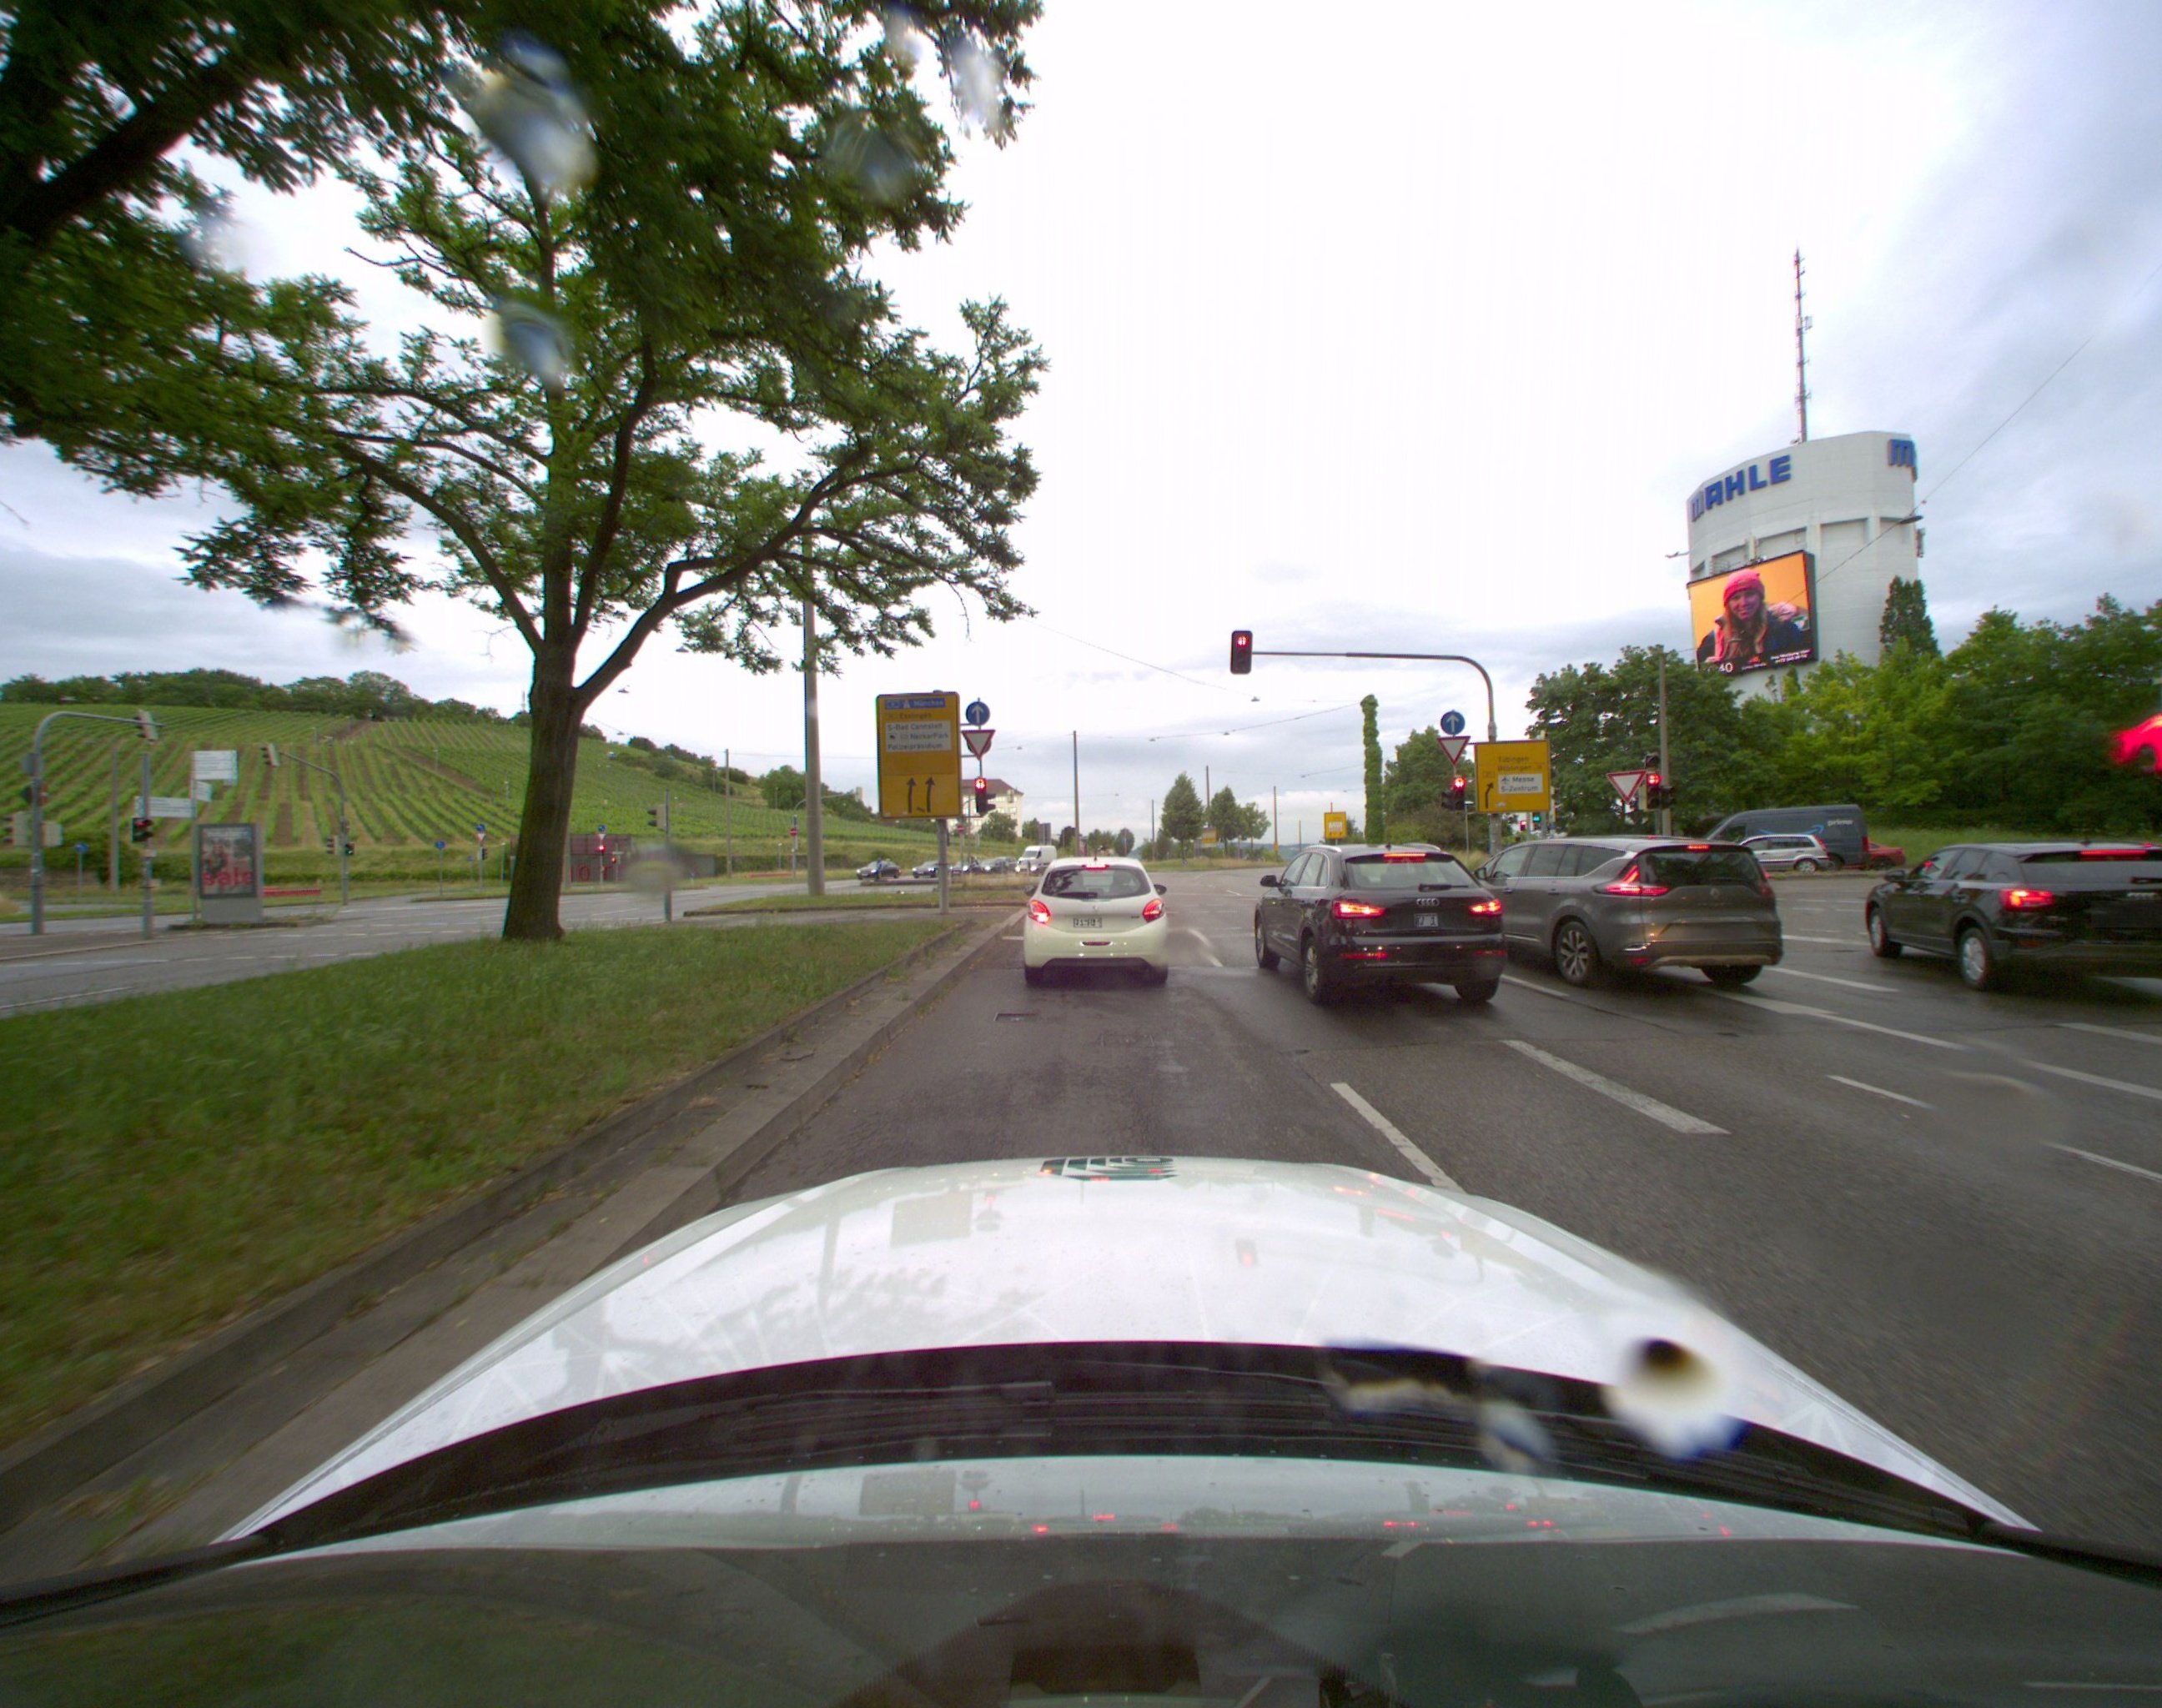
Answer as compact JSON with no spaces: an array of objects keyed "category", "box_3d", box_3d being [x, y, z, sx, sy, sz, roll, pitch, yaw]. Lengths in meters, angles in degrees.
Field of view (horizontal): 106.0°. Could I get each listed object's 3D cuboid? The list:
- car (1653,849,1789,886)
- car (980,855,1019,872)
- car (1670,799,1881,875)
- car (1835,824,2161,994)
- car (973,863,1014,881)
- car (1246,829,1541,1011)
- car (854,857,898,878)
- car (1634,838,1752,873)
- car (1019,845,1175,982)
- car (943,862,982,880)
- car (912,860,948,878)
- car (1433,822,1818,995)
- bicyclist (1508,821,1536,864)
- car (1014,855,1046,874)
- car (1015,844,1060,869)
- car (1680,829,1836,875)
[{"category":"car","box_3d":[27.419,0.578,35.078,4.327,1.520,1.739,-1,-1,25]},{"category":"car","box_3d":[-8.008,0.933,80.162,1.976,1.575,4.218,0,-1,23]},{"category":"car","box_3d":[26.967,-0.570,31.983,5.953,2.741,2.094,-1,-2,28]},{"category":"car","box_3d":[10.422,0.500,9.084,1.847,1.498,4.176,-4,-2,28]},{"category":"car","box_3d":[-7.583,1.561,70.938,1.887,1.489,4.911,0,0,15]},{"category":"car","box_3d":[3.178,0.598,9.258,1.877,1.595,4.114,0,0,1]},{"category":"car","box_3d":[-16.371,1.087,65.406,1.819,1.623,4.576,0,0,8]},{"category":"car","box_3d":[28.666,0.098,38.317,4.094,1.564,1.881,-1,-1,22]},{"category":"car","box_3d":[0.222,0.671,10.982,1.711,1.489,4.001,-1,0,1]},{"category":"car","box_3d":[-9.433,1.361,65.087,1.774,1.395,3.894,0,-1,12]},{"category":"car","box_3d":[-12.416,1.232,67.247,1.776,1.395,3.889,0,-1,7]},{"category":"car","box_3d":[6.318,0.509,10.254,1.859,1.674,4.566,-1,1,1]},{"category":"bicyclist","box_3d":[16.196,-0.411,29.941,0.801,1.584,1.028,0,-1,23]},{"category":"car","box_3d":[-4.102,0.863,65.820,1.766,1.425,4.382,-2,-1,7]},{"category":"car","box_3d":[-4.627,0.283,88.747,1.975,2.559,6.207,0,-1,28]},{"category":"car","box_3d":[24.545,-0.029,29.740,4.012,1.569,1.882,-1,-2,25]}]
